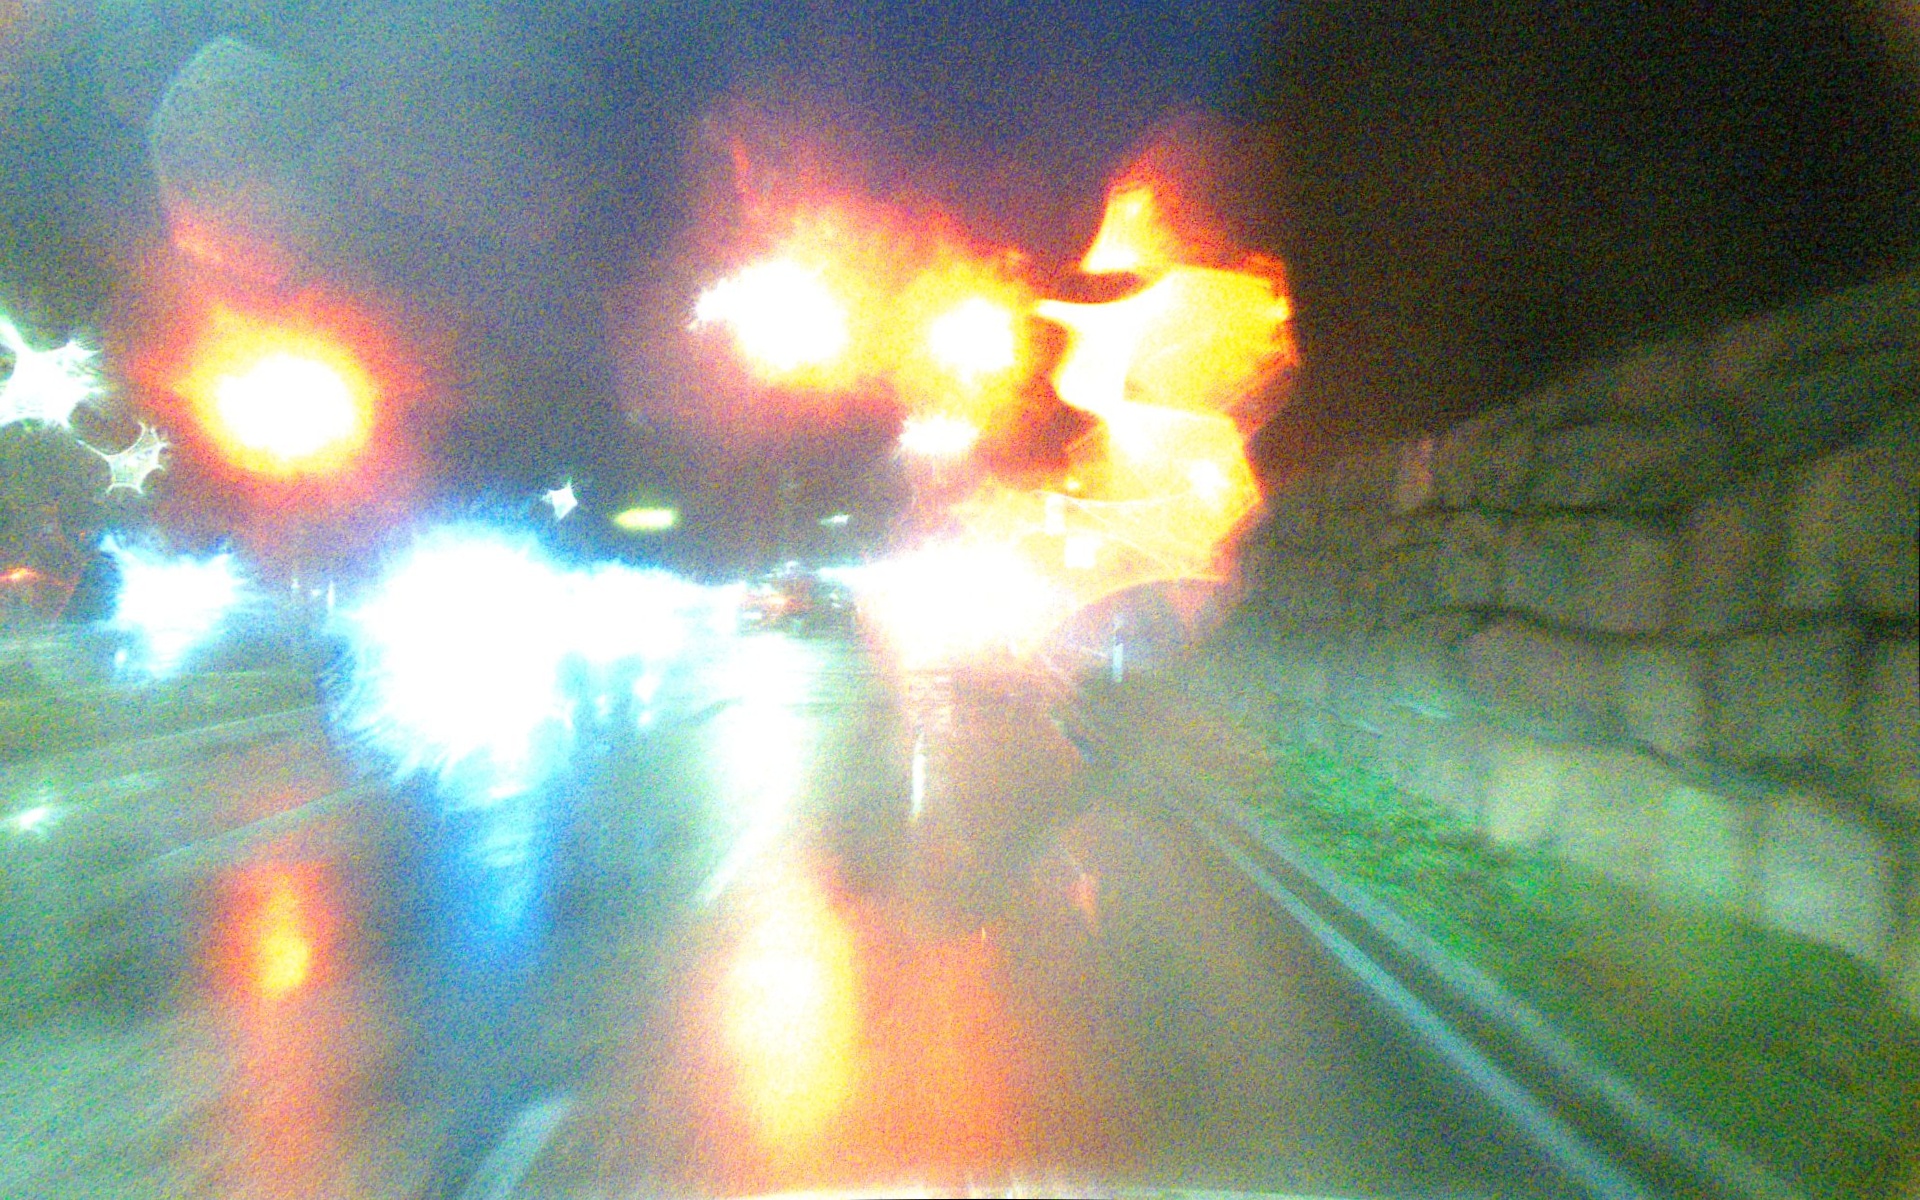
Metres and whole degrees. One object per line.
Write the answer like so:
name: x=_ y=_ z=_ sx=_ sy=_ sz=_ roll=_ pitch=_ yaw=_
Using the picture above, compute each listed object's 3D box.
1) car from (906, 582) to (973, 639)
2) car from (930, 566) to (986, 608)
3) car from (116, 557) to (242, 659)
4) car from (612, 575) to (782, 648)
car: x=-0.592 y=0.304 z=51.232 sx=1.952 sy=1.691 sz=4.001 roll=0 pitch=0 yaw=1
car: x=-0.103 y=-0.466 z=60.413 sx=1.922 sy=1.453 sz=3.931 roll=0 pitch=0 yaw=-2
car: x=-16.595 y=0.145 z=35.330 sx=1.963 sy=2.049 sz=3.978 roll=-1 pitch=0 yaw=-19
car: x=-6.303 y=0.262 z=39.997 sx=3.910 sy=1.691 sz=1.998 roll=-1 pitch=0 yaw=-6
